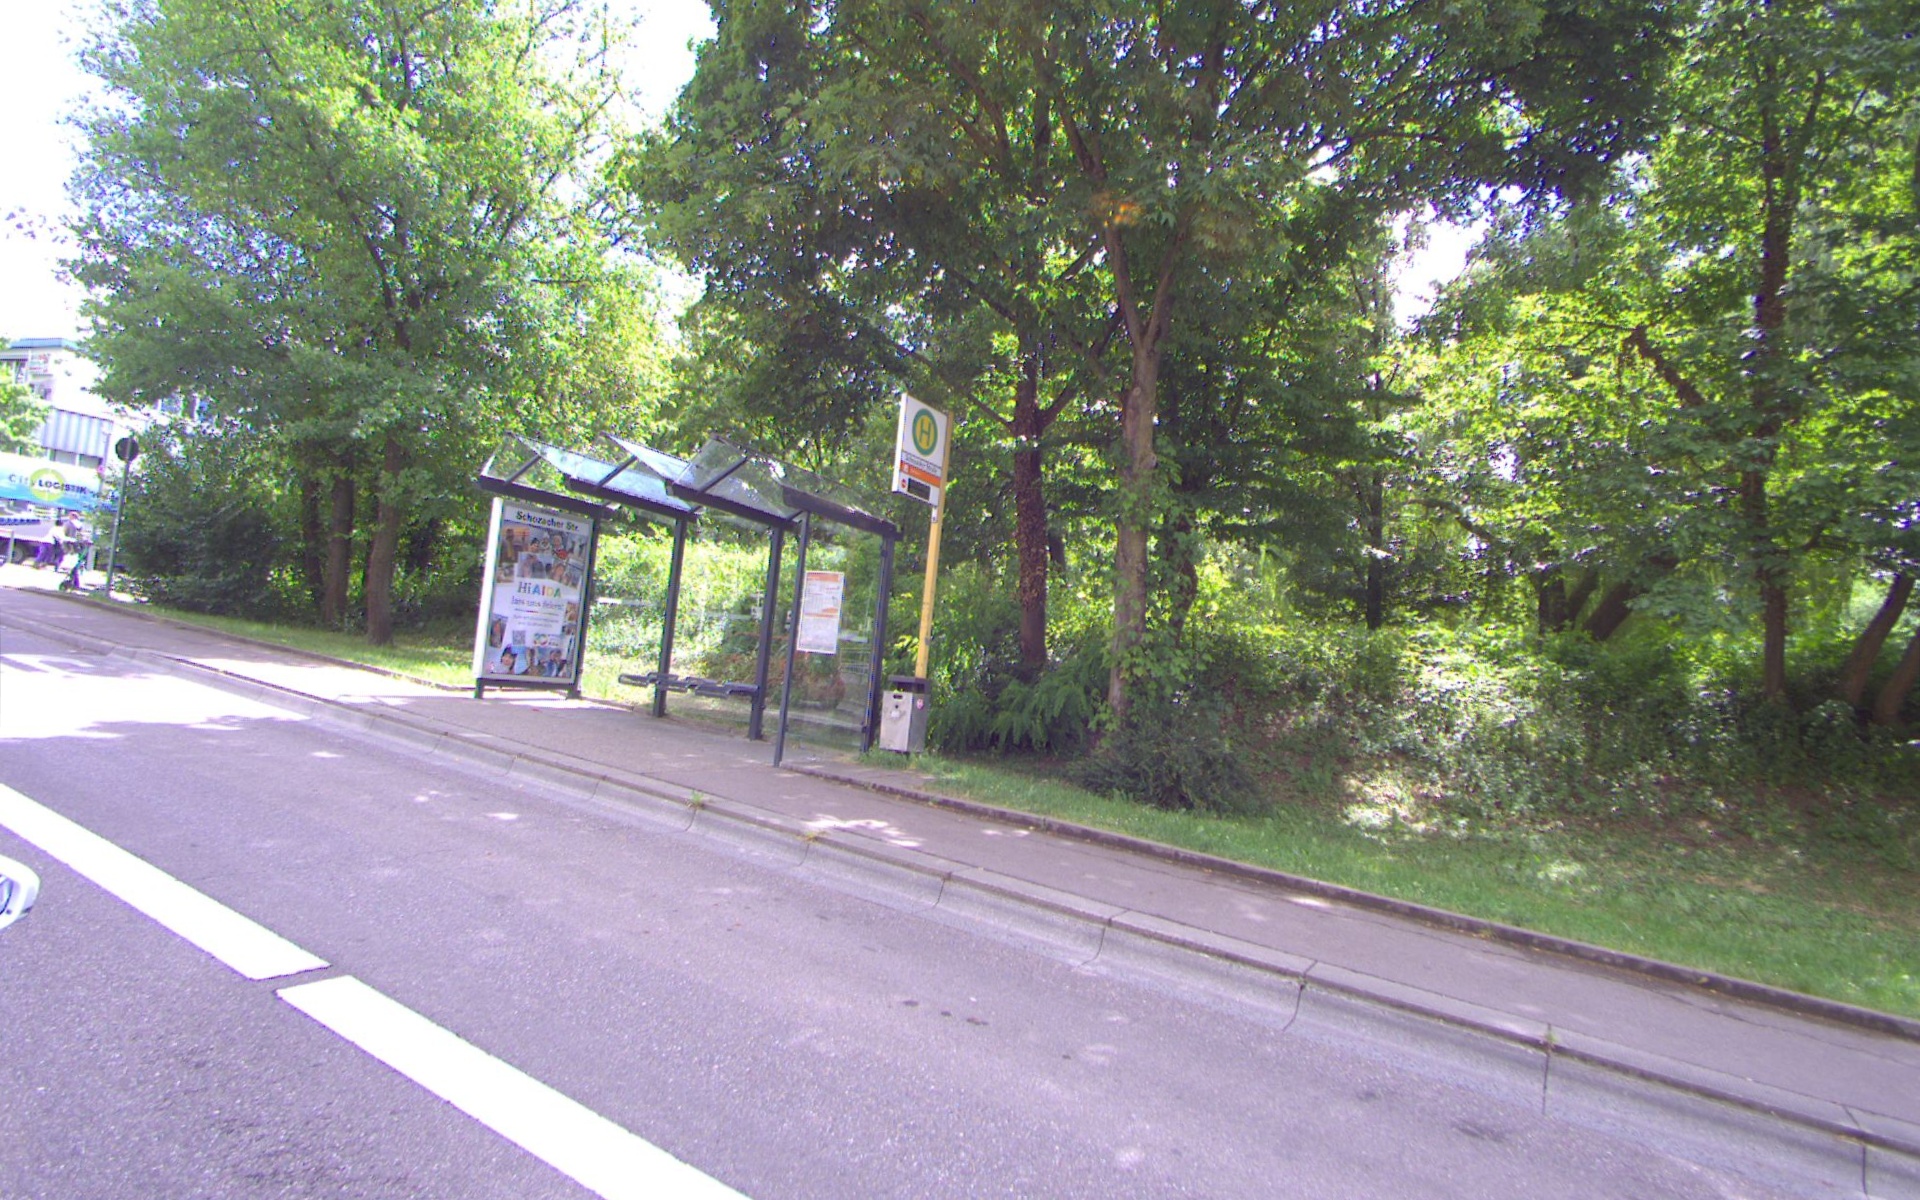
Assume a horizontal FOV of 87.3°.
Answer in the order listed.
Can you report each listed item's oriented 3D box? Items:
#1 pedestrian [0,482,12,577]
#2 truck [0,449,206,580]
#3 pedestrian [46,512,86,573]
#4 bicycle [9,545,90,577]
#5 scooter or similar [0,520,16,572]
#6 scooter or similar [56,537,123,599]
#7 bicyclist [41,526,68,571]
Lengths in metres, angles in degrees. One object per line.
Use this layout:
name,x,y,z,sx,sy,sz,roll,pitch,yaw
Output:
pedestrian,-17.931,-1.239,18.167,0.997,1.898,0.796,6,-1,32
truck,-29.626,-2.830,33.009,2.560,3.386,7.298,7,-2,20
pedestrian,-26.549,-1.699,29.884,0.653,1.733,0.458,8,-1,-32
bicycle,-25.281,-1.091,27.965,1.579,0.616,0.529,11,-3,-38
scooter or similar,-24.927,-1.463,25.553,0.546,1.286,1.153,6,-3,34
scooter or similar,-20.212,-0.730,23.360,0.447,1.242,0.893,6,-6,32
bicyclist,-25.200,-1.436,28.004,0.396,1.170,0.497,8,-1,-38
